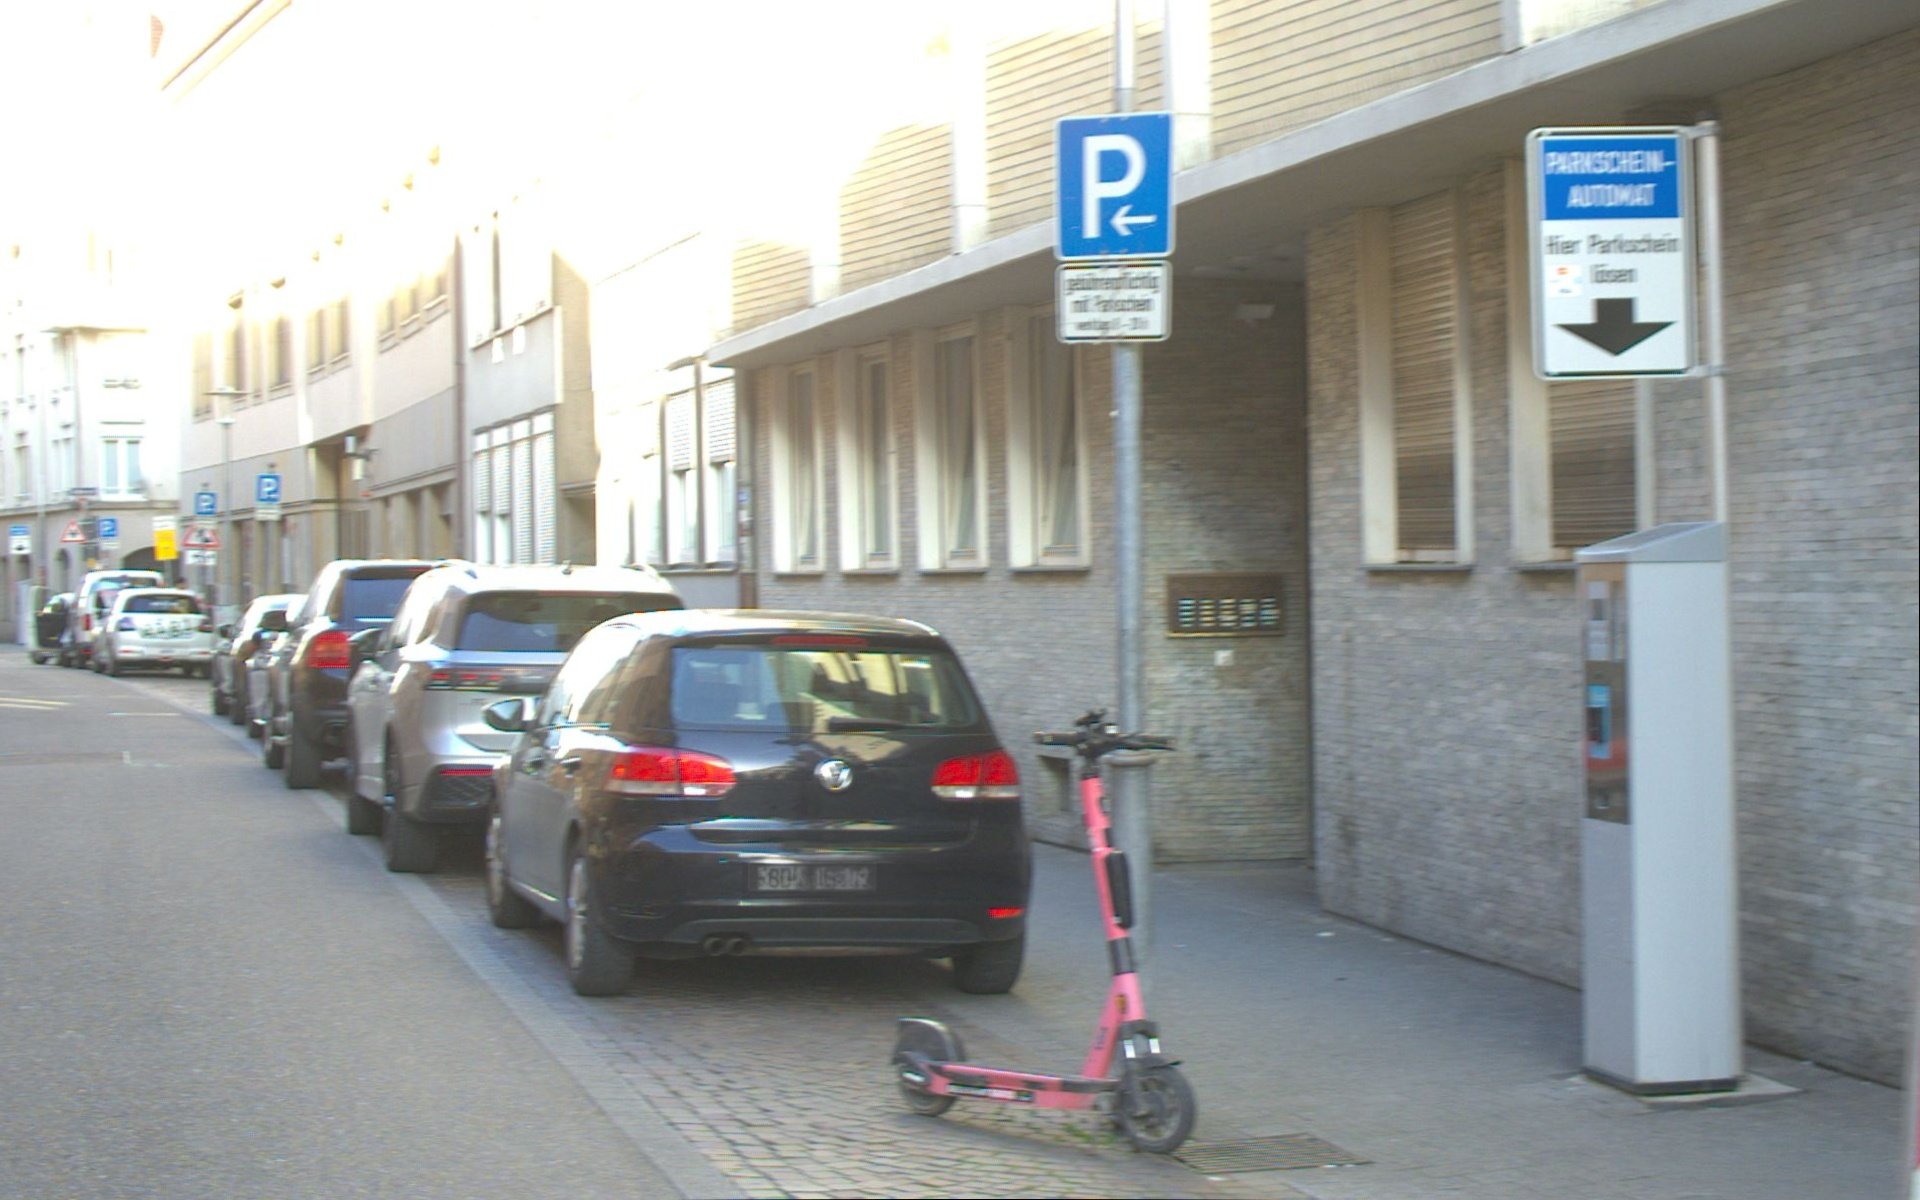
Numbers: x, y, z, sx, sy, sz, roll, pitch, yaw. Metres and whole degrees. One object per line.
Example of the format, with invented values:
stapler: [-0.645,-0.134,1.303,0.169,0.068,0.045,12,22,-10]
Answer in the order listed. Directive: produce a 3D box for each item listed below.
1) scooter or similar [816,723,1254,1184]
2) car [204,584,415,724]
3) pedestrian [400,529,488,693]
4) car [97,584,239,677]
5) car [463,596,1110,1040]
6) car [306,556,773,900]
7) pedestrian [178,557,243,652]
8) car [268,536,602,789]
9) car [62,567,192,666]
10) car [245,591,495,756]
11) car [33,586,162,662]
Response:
scooter or similar: [0.196,0.976,9.922,0.493,1.190,1.306,-1,1,-43]
car: [-7.394,0.562,38.720,1.893,1.448,5.227,1,0,-15]
pedestrian: [-5.550,0.111,36.948,0.788,1.715,0.747,-3,1,-15]
car: [-13.600,0.501,58.905,1.840,1.473,4.169,2,0,-20]
car: [-0.921,0.791,14.527,1.822,1.499,4.601,2,0,-14]
car: [-2.549,0.641,19.703,1.993,1.696,4.844,2,0,-14]
pedestrian: [-14.283,0.090,65.489,1.042,1.795,1.199,0,0,-19]
car: [-4.218,0.435,26.919,2.103,1.780,5.053,1,0,-14]
car: [-15.745,0.307,64.838,1.830,1.785,5.215,1,0,-20]
car: [-5.727,0.658,32.919,1.806,1.408,4.791,2,0,-16]
car: [-17.705,0.466,70.452,1.888,1.513,4.063,0,0,-24]
